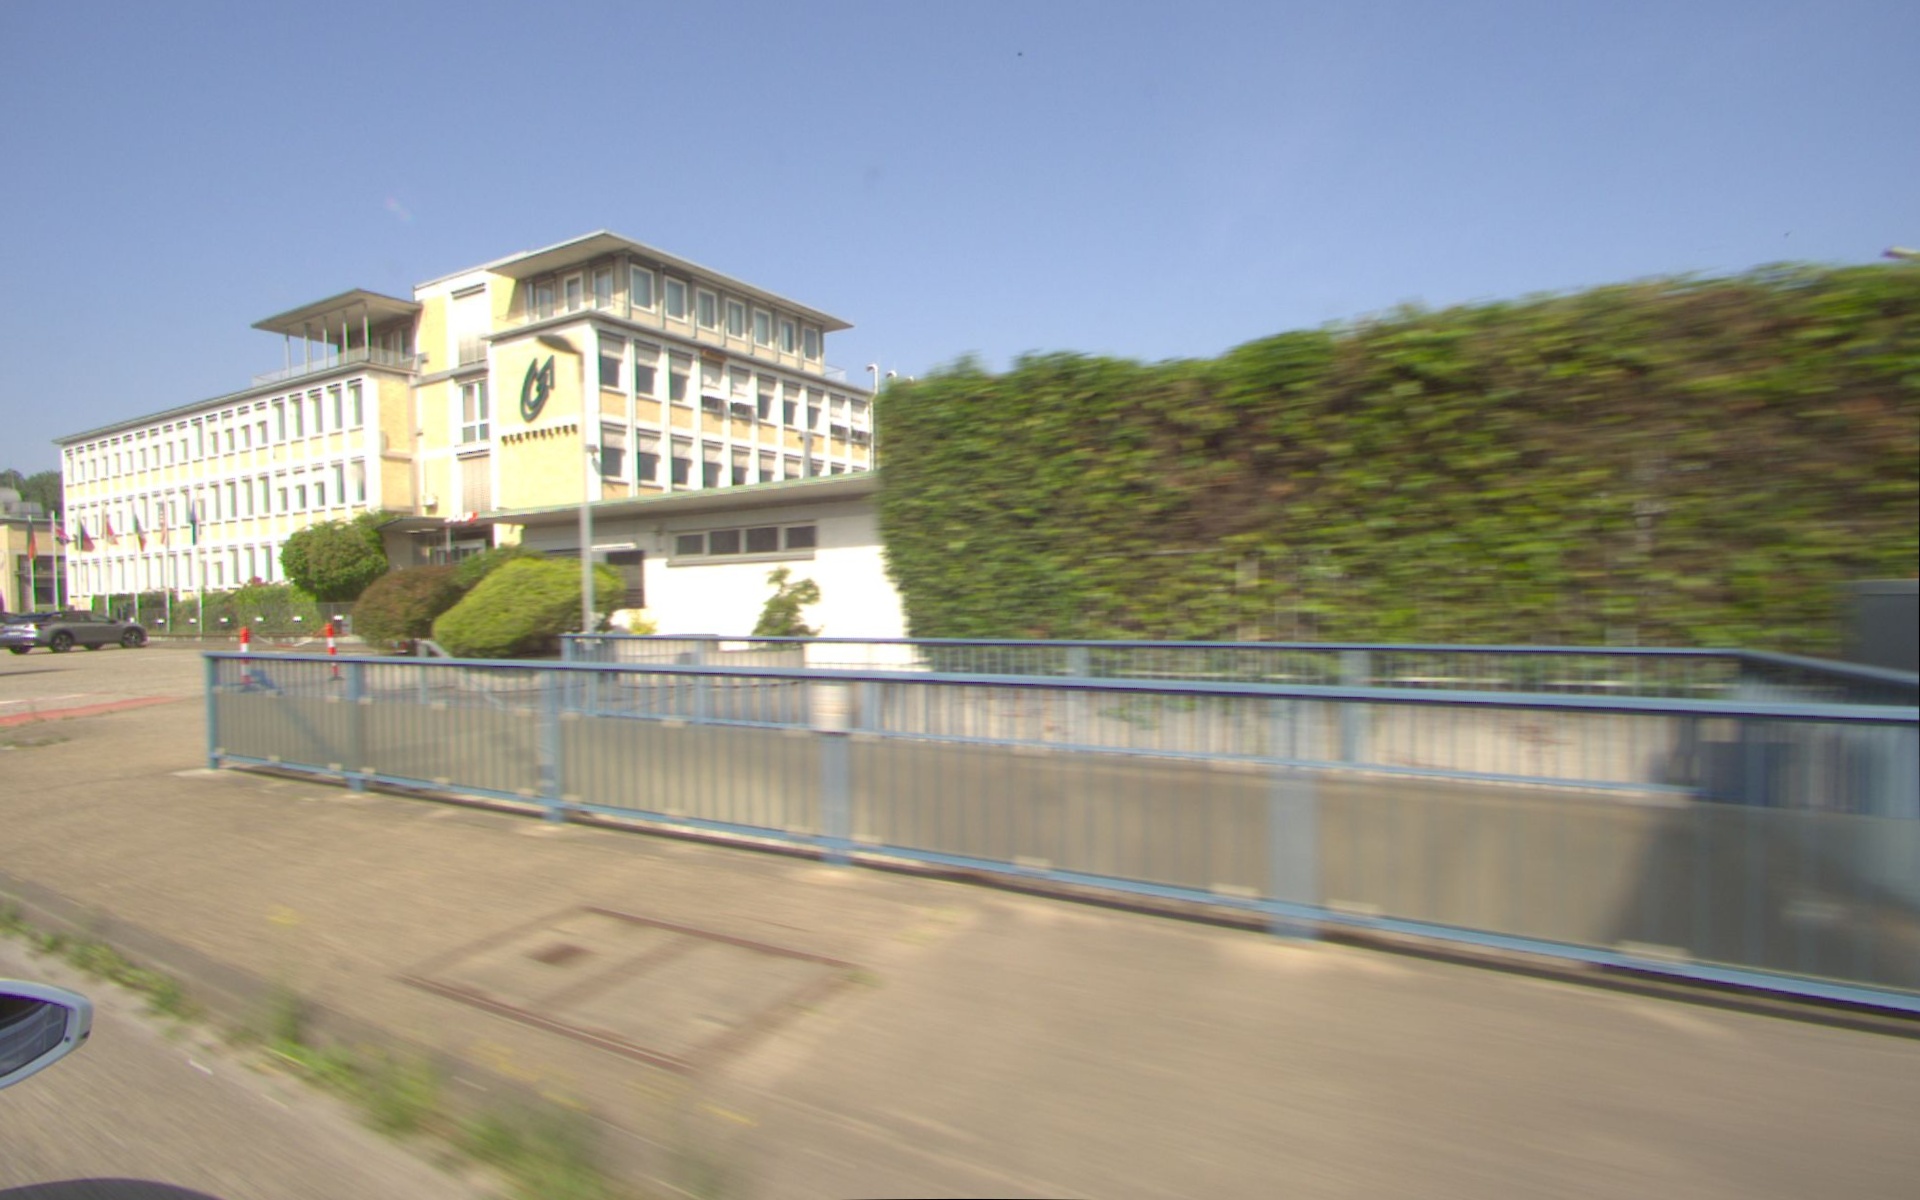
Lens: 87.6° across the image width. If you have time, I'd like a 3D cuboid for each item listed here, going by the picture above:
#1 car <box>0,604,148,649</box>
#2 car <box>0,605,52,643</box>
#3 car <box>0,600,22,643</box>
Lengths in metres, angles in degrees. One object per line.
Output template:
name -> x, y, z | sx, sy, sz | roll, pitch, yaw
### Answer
car -> -32.772, 0.929, 37.012 | 1.849, 1.525, 4.311 | -1, 0, 3
car -> -40.010, 1.003, 41.009 | 1.849, 1.525, 3.999 | -1, 0, 3
car -> -42.556, 0.927, 41.775 | 1.944, 1.857, 5.036 | -1, 0, 3
